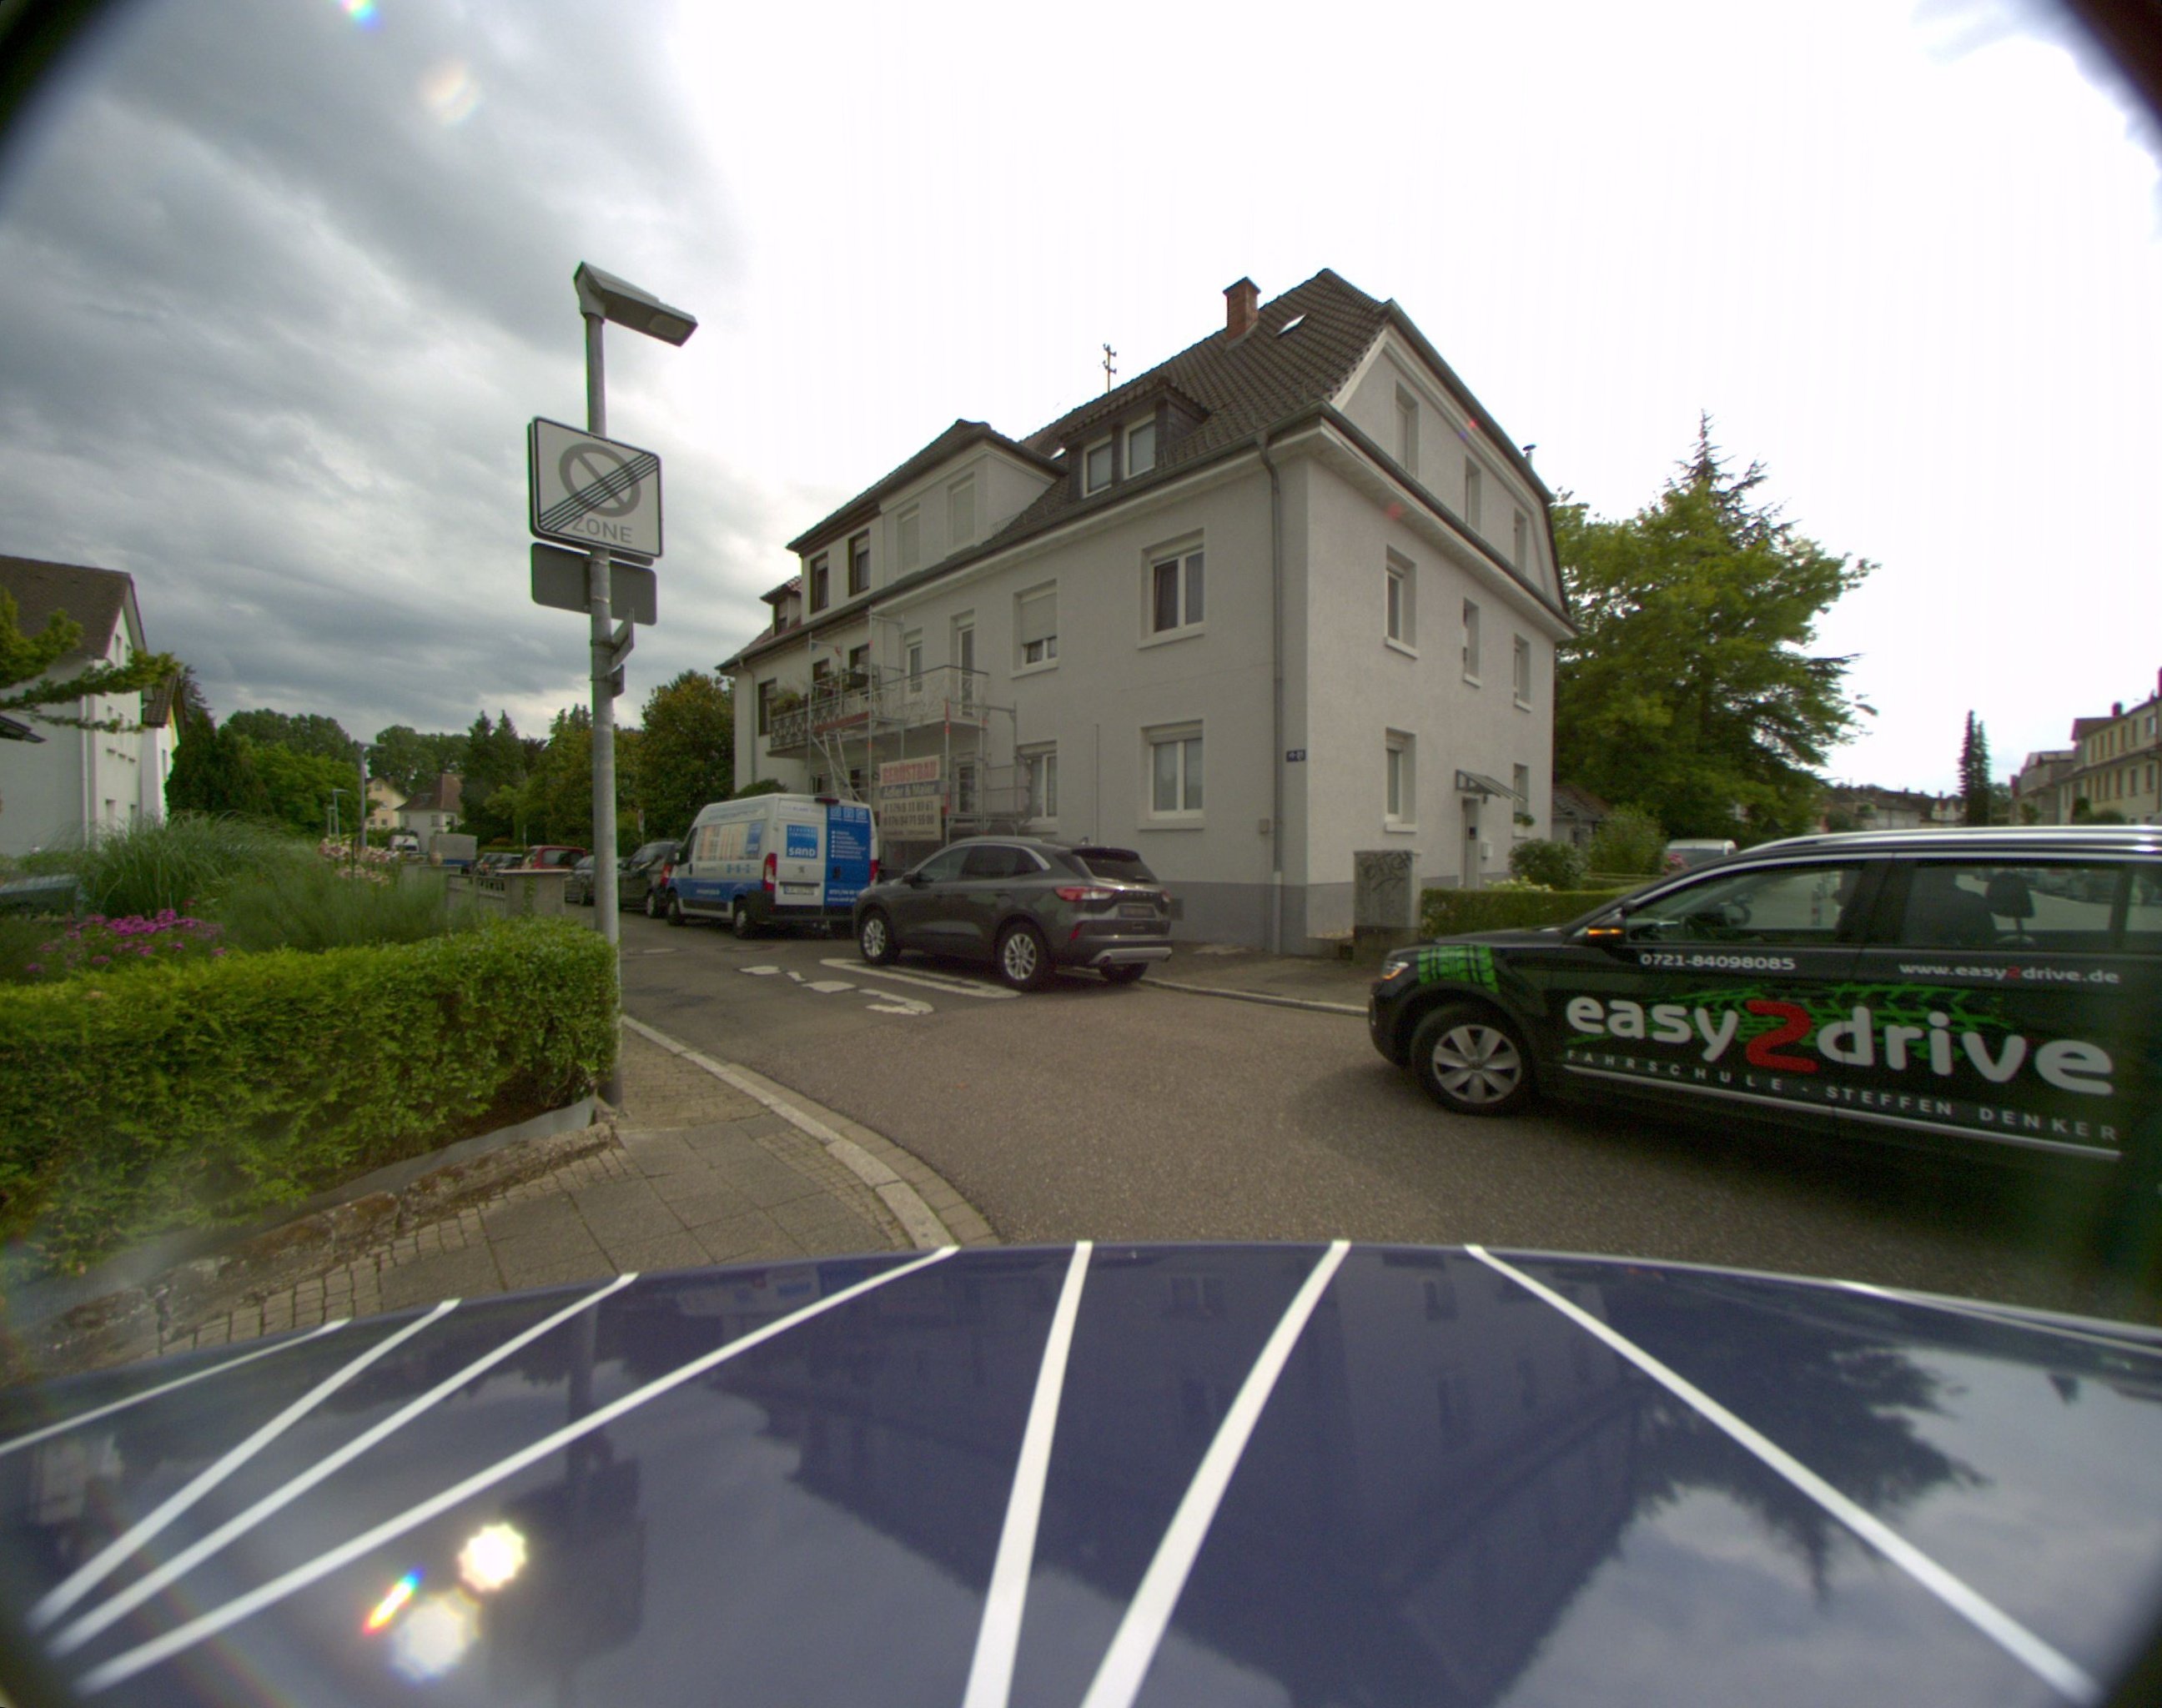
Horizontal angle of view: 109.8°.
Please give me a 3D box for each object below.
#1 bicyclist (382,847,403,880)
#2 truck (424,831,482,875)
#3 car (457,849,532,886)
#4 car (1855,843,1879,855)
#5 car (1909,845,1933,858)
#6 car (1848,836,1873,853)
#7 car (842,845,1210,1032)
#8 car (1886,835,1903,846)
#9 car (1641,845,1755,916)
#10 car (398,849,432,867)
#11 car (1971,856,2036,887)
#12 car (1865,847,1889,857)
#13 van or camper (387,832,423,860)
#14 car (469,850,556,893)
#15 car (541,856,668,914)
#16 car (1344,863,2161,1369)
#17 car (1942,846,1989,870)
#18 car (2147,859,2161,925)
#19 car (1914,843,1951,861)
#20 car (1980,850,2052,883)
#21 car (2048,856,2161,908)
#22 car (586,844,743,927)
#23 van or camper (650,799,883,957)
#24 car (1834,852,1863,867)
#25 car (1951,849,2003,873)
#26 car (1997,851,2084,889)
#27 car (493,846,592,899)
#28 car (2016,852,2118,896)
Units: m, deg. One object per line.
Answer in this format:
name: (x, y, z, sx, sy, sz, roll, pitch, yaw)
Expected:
bicyclist: (-35.528, 0.485, 39.187, 0.972, 1.657, 0.700, 1, 3, 45)
truck: (-38.968, -0.090, 47.102, 4.570, 2.642, 2.141, 1, 2, 43)
car: (-27.186, 0.578, 35.163, 4.328, 1.582, 2.004, 1, 1, 42)
car: (107.024, -0.676, 103.445, 4.008, 1.630, 1.994, -1, 1, -42)
car: (104.440, -0.313, 94.481, 4.184, 1.569, 1.854, -1, 1, -44)
car: (94.290, -1.120, 91.929, 4.008, 2.002, 1.994, -1, 2, -43)
car: (-0.836, 0.759, 9.231, 4.328, 1.717, 2.004, 1, 1, 42)
car: (150.814, -2.498, 140.836, 4.008, 2.111, 1.994, -1, 2, -42)
car: (17.603, 0.658, 21.606, 4.008, 1.827, 1.994, -1, 1, -44)
car: (-53.327, 0.303, 60.857, 1.831, 1.368, 3.988, -1, 1, -44)
car: (48.334, 0.871, 39.885, 4.184, 1.463, 1.854, -1, 1, -44)
car: (117.882, -0.286, 112.539, 4.007, 1.527, 1.995, -1, 0, -36)
van or camper: (-62.290, -0.774, 69.980, 4.999, 2.527, 2.153, 1, 2, 45)
car: (-23.174, 0.656, 30.928, 4.328, 1.582, 2.004, 1, 1, 42)
car: (-13.838, 0.816, 21.976, 4.328, 1.447, 2.004, 1, 1, 42)
car: (3.504, 0.802, 3.466, 1.825, 1.511, 4.032, 0, -1, -36)
car: (60.943, 0.238, 52.394, 4.184, 1.569, 1.854, -1, 1, -44)
car: (24.416, 0.892, 15.880, 4.184, 1.463, 1.854, -1, 1, -44)
car: (74.349, -0.190, 66.377, 1.854, 1.569, 4.184, 1, 1, 45)
car: (45.231, 0.550, 36.843, 4.184, 1.463, 1.854, -1, 1, -44)
car: (32.839, 0.838, 24.359, 4.184, 1.463, 1.854, -1, 1, -44)
car: (-10.197, 0.653, 18.479, 4.328, 1.762, 2.004, 1, 1, 42)
van or camper: (-6.054, 0.337, 14.285, 5.039, 2.445, 2.203, 1, 2, 44)
car: (85.206, 0.606, 84.326, 4.008, 1.630, 1.994, -1, 1, -42)
car: (57.321, 0.414, 48.661, 4.184, 1.463, 1.854, -1, 1, -44)
car: (40.539, 0.627, 32.194, 4.184, 1.463, 1.854, -1, 1, -44)
car: (-19.511, 0.595, 27.451, 4.328, 1.739, 2.004, 1, 1, 42)
car: (36.461, 0.694, 28.206, 4.184, 1.463, 1.854, -1, 1, -44)
